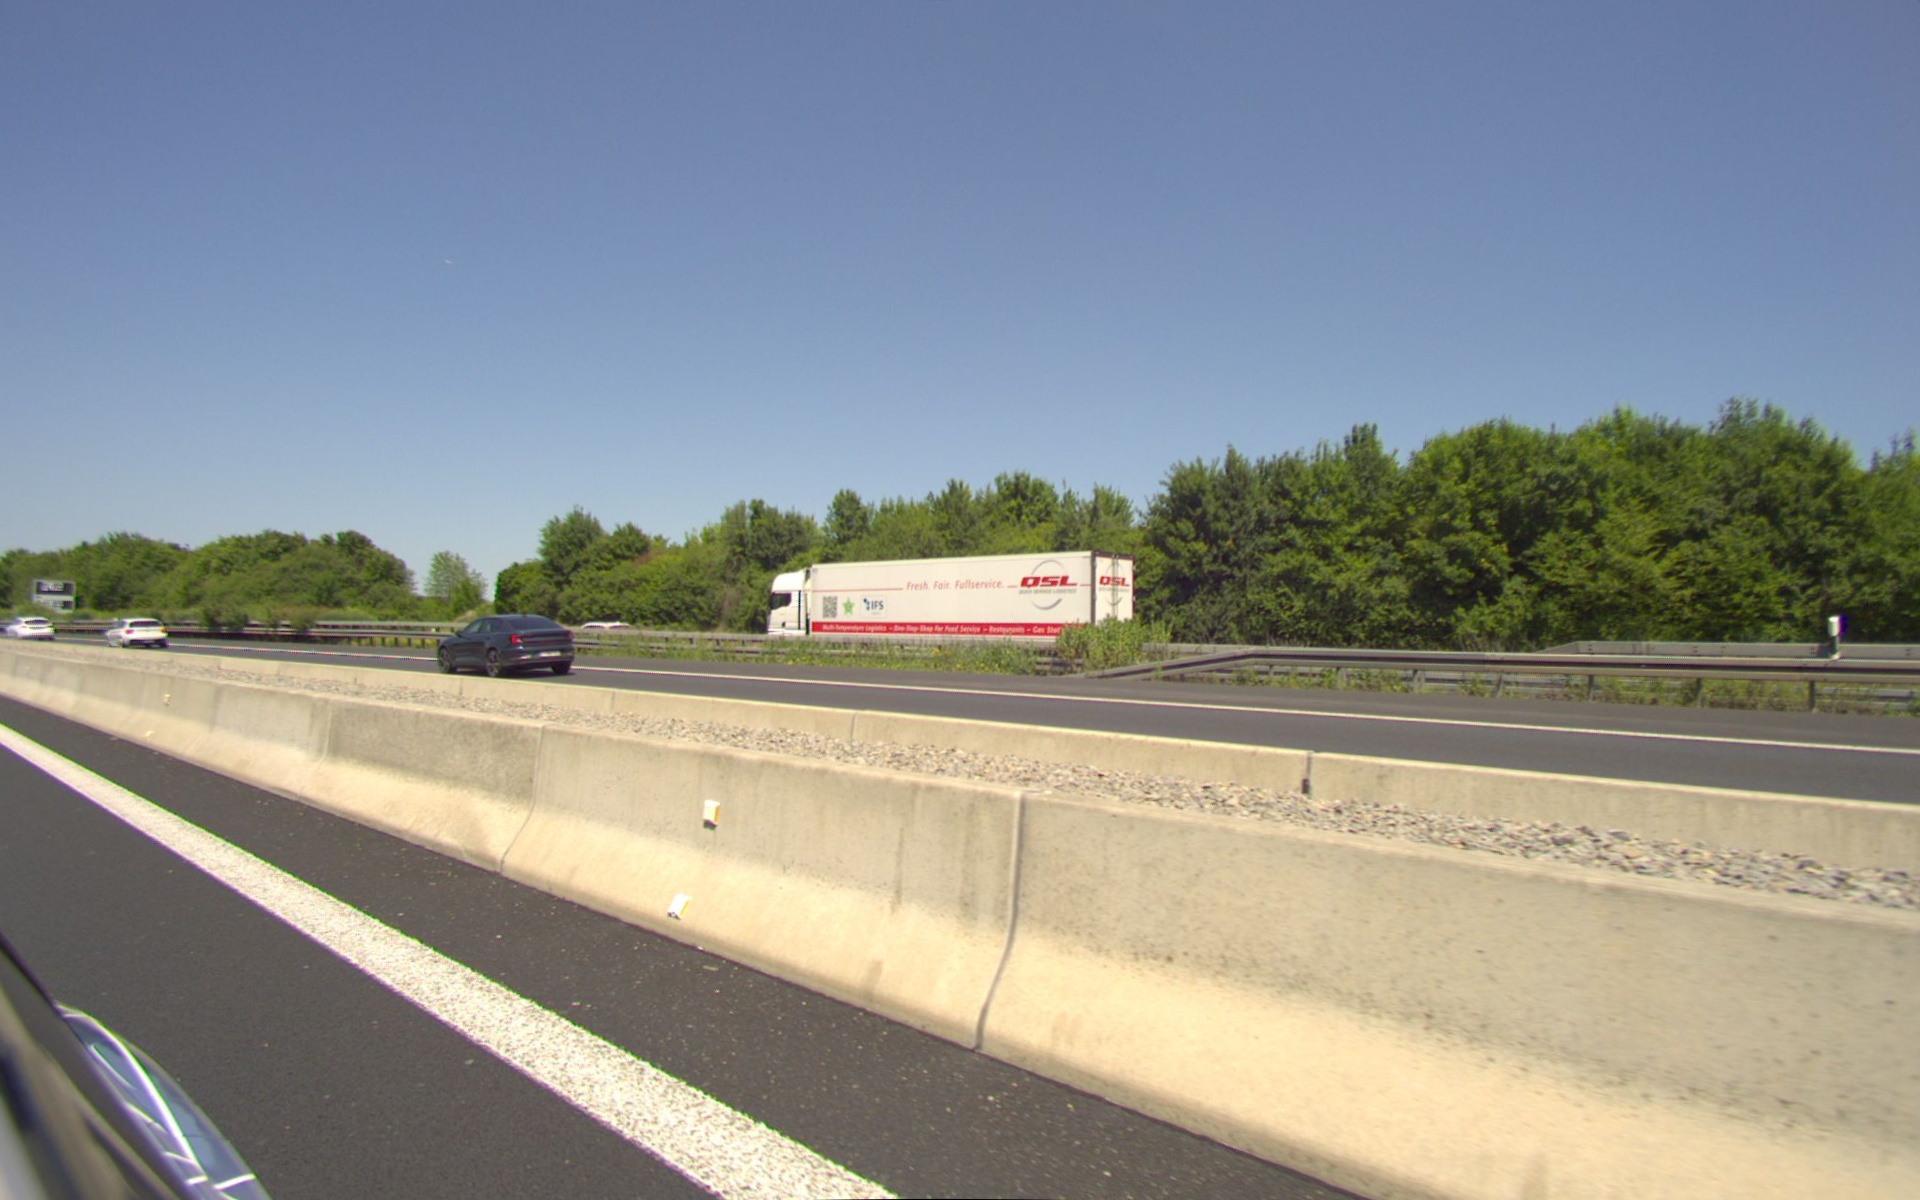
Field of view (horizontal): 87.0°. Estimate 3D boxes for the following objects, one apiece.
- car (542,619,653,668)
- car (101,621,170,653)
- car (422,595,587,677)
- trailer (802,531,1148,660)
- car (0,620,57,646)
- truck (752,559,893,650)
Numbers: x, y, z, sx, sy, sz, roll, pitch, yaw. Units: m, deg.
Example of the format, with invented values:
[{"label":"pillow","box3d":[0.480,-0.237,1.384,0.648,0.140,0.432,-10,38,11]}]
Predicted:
[{"label":"car","box3d":[-16.033,1.871,44.698,5.309,2.029,1.976,-1,-2,36]},{"label":"car","box3d":[-39.390,1.728,48.320,3.997,1.405,1.832,-1,0,40]},{"label":"car","box3d":[-11.390,0.843,25.147,4.905,1.838,1.972,-1,-1,43]},{"label":"trailer","box3d":[-0.044,-0.079,37.267,14.076,4.027,3.076,-1,-1,41]},{"label":"car","box3d":[-58.858,2.046,63.912,5.036,1.555,1.974,-1,-1,39]},{"label":"truck","box3d":[-5.770,0.214,42.193,5.406,3.530,3.051,-1,-1,41]}]
